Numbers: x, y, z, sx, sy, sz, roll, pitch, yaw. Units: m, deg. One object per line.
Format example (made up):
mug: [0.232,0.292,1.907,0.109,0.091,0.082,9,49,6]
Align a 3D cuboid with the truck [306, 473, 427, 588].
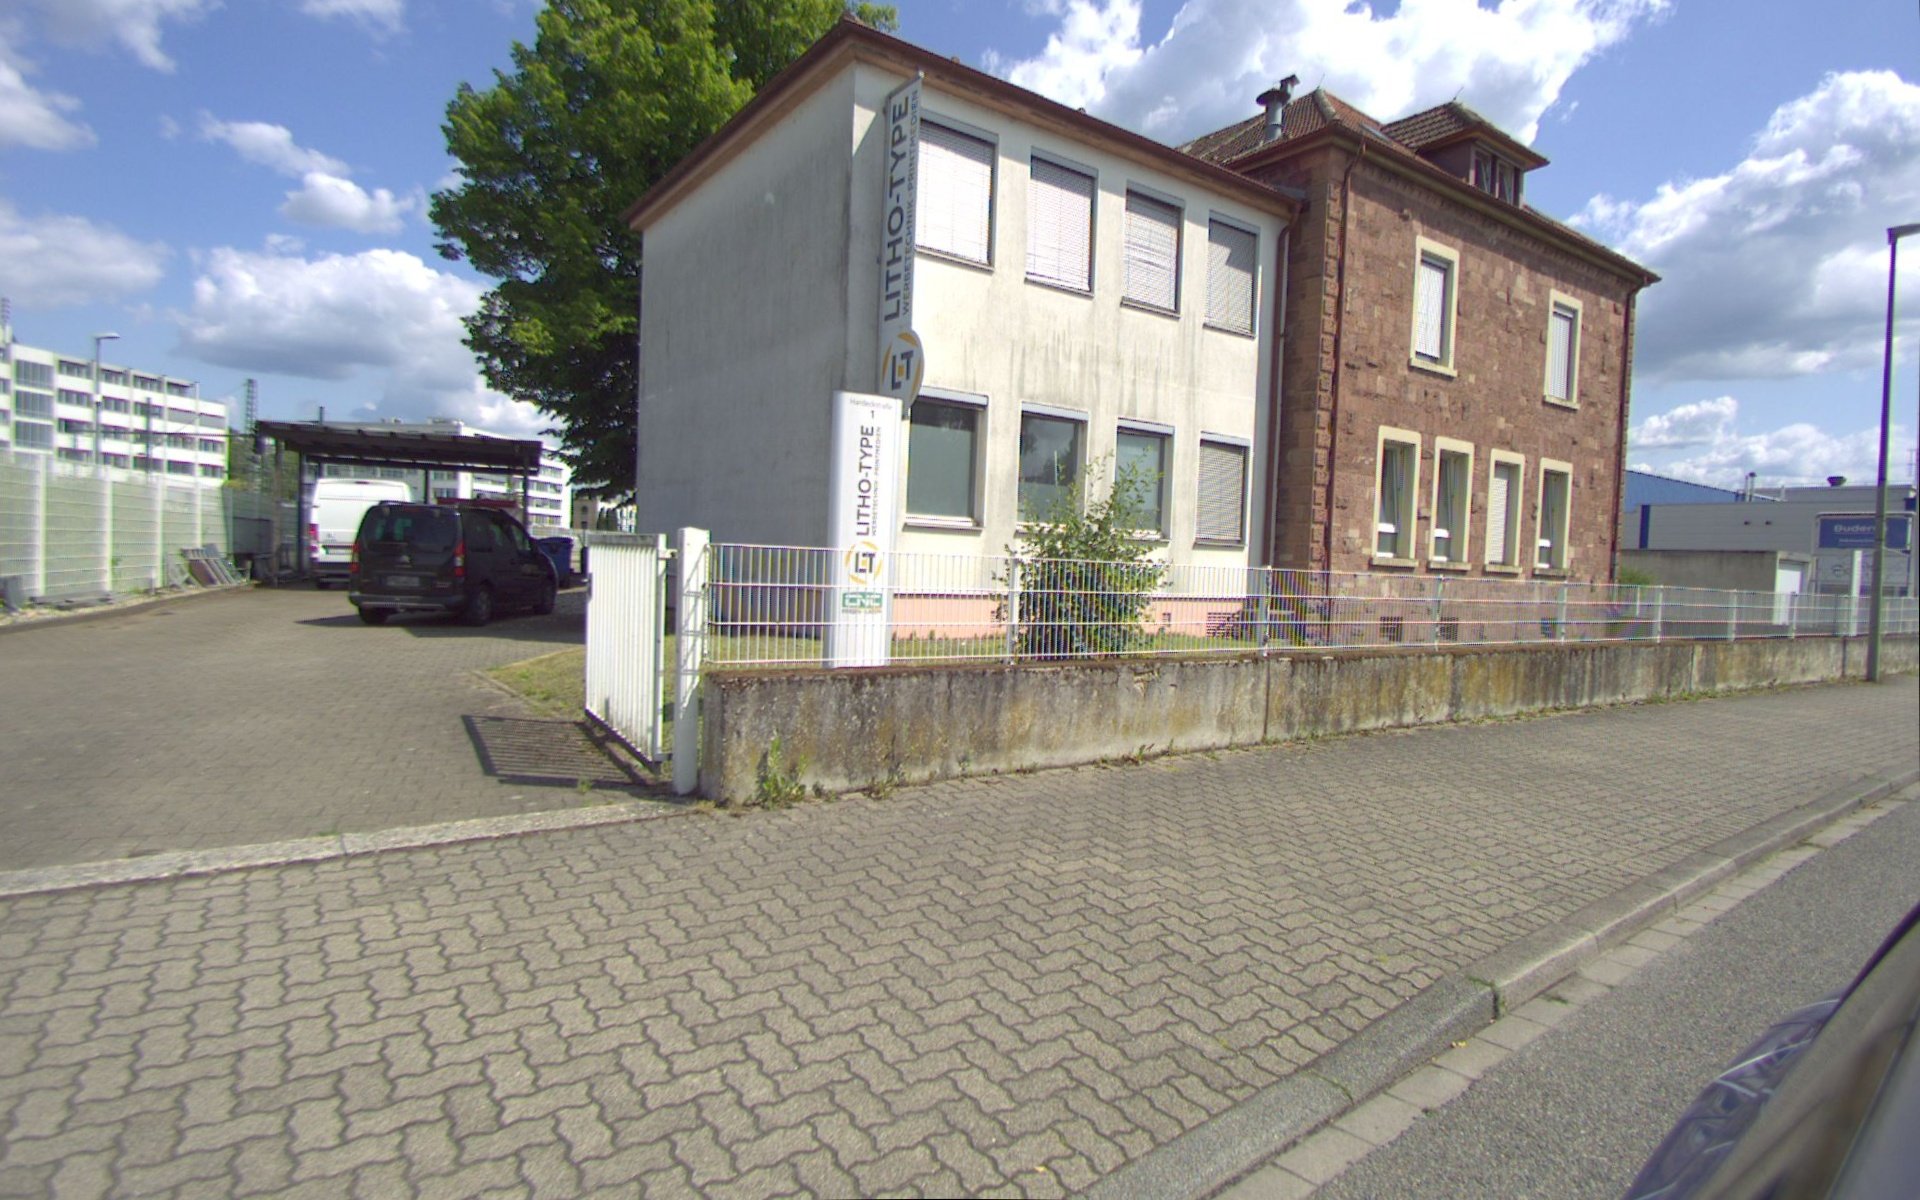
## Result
truck: [-14.259,-1.663,24.567,1.958,2.454,4.755,1,3,-24]

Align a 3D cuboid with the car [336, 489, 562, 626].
car: [-8.015,-0.699,16.322,1.768,1.854,4.004,2,3,-3]
